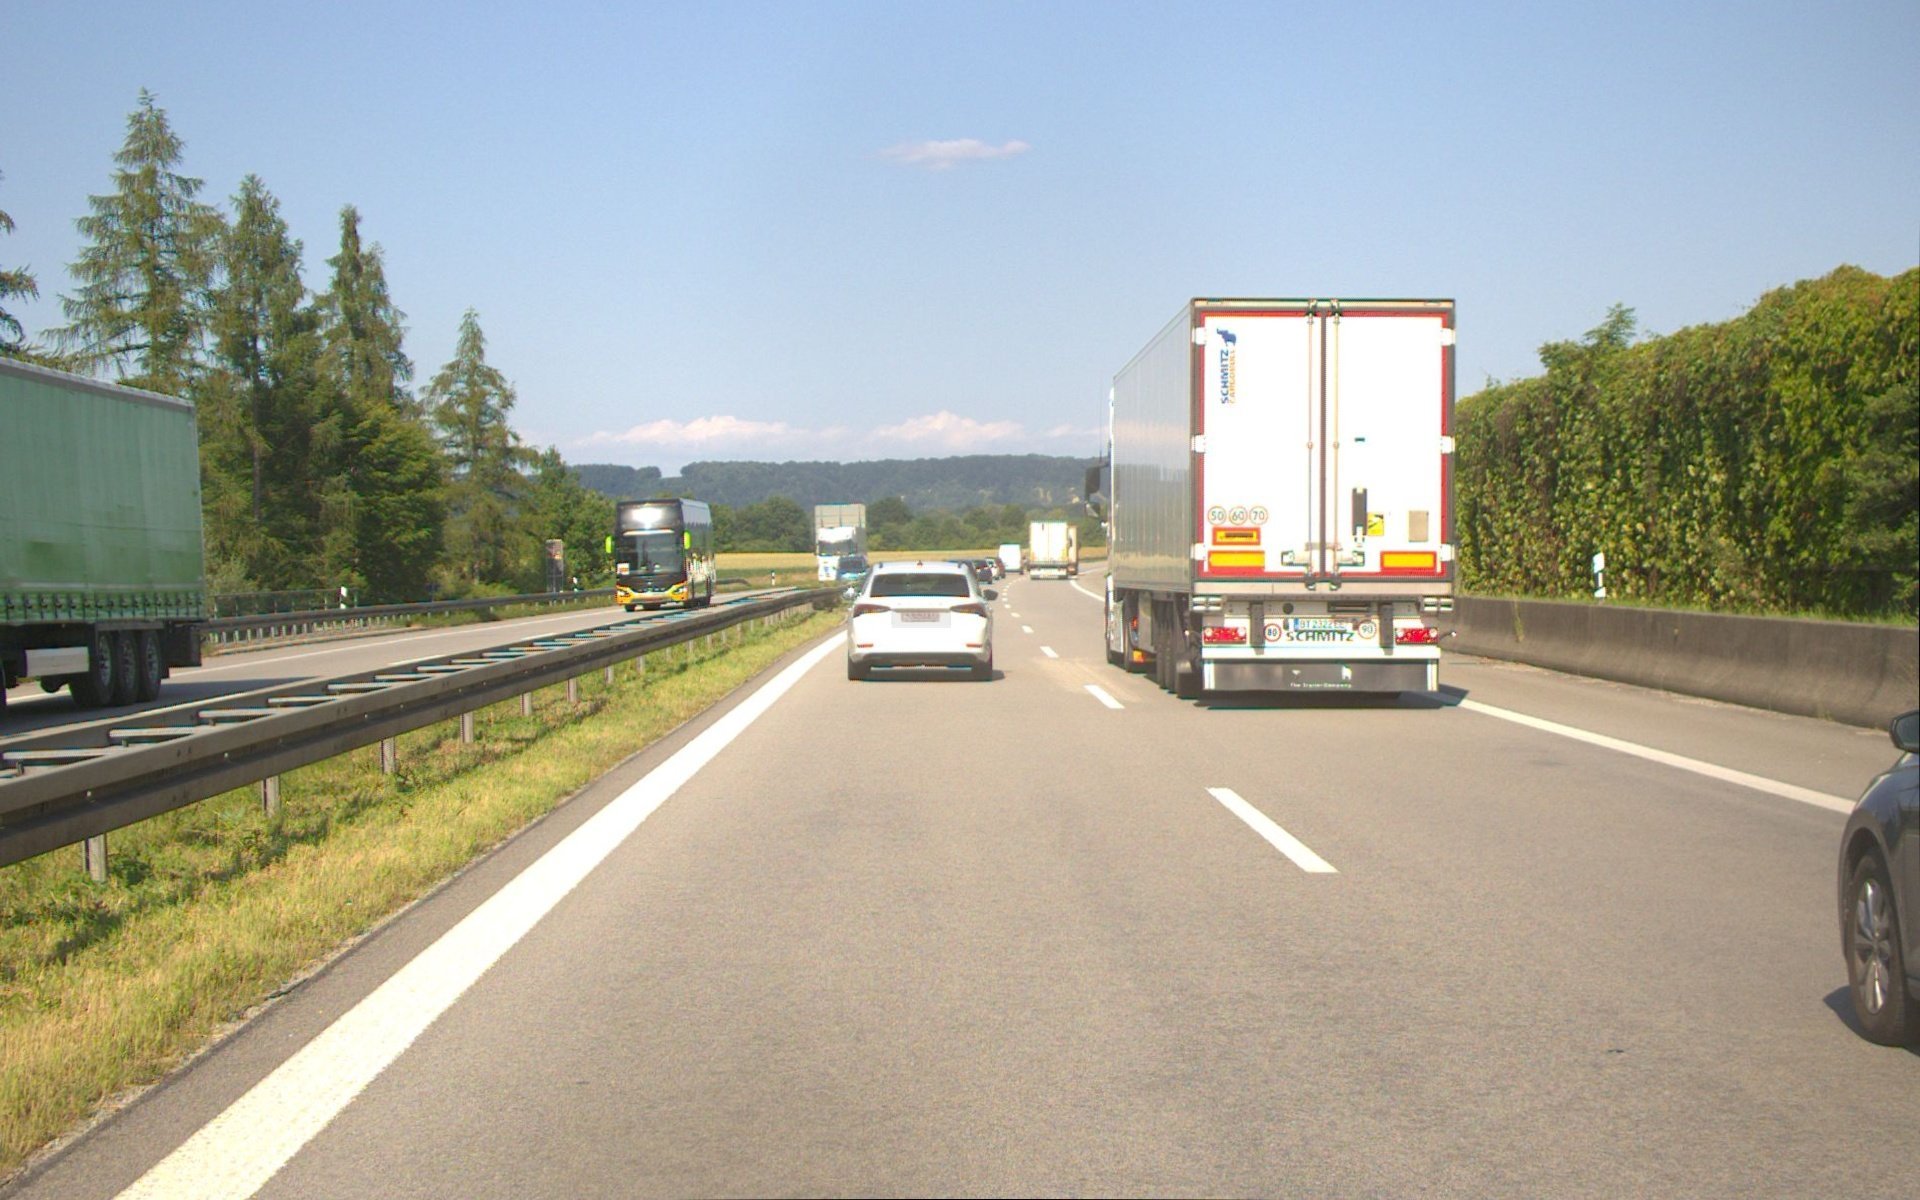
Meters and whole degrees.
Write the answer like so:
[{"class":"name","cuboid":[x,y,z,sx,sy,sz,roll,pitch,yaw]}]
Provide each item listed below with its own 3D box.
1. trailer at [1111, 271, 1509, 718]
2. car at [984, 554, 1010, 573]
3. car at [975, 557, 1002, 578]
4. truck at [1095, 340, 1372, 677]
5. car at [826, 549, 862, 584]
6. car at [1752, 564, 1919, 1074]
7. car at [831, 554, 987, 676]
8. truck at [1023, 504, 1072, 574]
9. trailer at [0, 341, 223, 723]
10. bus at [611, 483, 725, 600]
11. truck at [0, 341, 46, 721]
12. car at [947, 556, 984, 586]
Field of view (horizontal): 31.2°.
[{"class":"trailer","cuboid":[3.475,-1.072,38.190,2.818,3.953,14.161,-2,1,0]},{"class":"car","cuboid":[2.699,-2.636,247.991,1.771,1.416,4.364,0,1,2]},{"class":"car","cuboid":[1.936,-2.214,231.645,1.771,1.416,4.365,0,1,1]},{"class":"truck","cuboid":[3.436,-1.159,44.952,2.840,3.953,7.044,-2,1,-1]},{"class":"car","cuboid":[-6.473,-1.895,192.493,1.754,1.843,5.011,-3,1,0]},{"class":"car","cuboid":[3.579,0.635,9.522,1.665,1.449,4.544,0,1,-1]},{"class":"car","cuboid":[-0.636,0.146,43.291,1.840,1.416,5.255,0,1,-1]},{"class":"truck","cuboid":[5.899,-4.156,233.862,3.152,4.596,8.905,-1,1,1]},{"class":"trailer","cuboid":[-11.424,-0.744,40.150,2.661,3.994,14.088,-2,1,-1]},{"class":"bus","cuboid":[-10.849,-2.190,129.108,2.936,4.040,14.669,-2,1,0]},{"class":"truck","cuboid":[-11.389,-0.657,34.074,2.644,3.994,7.193,-2,1,-1]},{"class":"car","cuboid":[0.255,-1.418,167.482,1.771,1.416,4.495,0,1,0]}]
